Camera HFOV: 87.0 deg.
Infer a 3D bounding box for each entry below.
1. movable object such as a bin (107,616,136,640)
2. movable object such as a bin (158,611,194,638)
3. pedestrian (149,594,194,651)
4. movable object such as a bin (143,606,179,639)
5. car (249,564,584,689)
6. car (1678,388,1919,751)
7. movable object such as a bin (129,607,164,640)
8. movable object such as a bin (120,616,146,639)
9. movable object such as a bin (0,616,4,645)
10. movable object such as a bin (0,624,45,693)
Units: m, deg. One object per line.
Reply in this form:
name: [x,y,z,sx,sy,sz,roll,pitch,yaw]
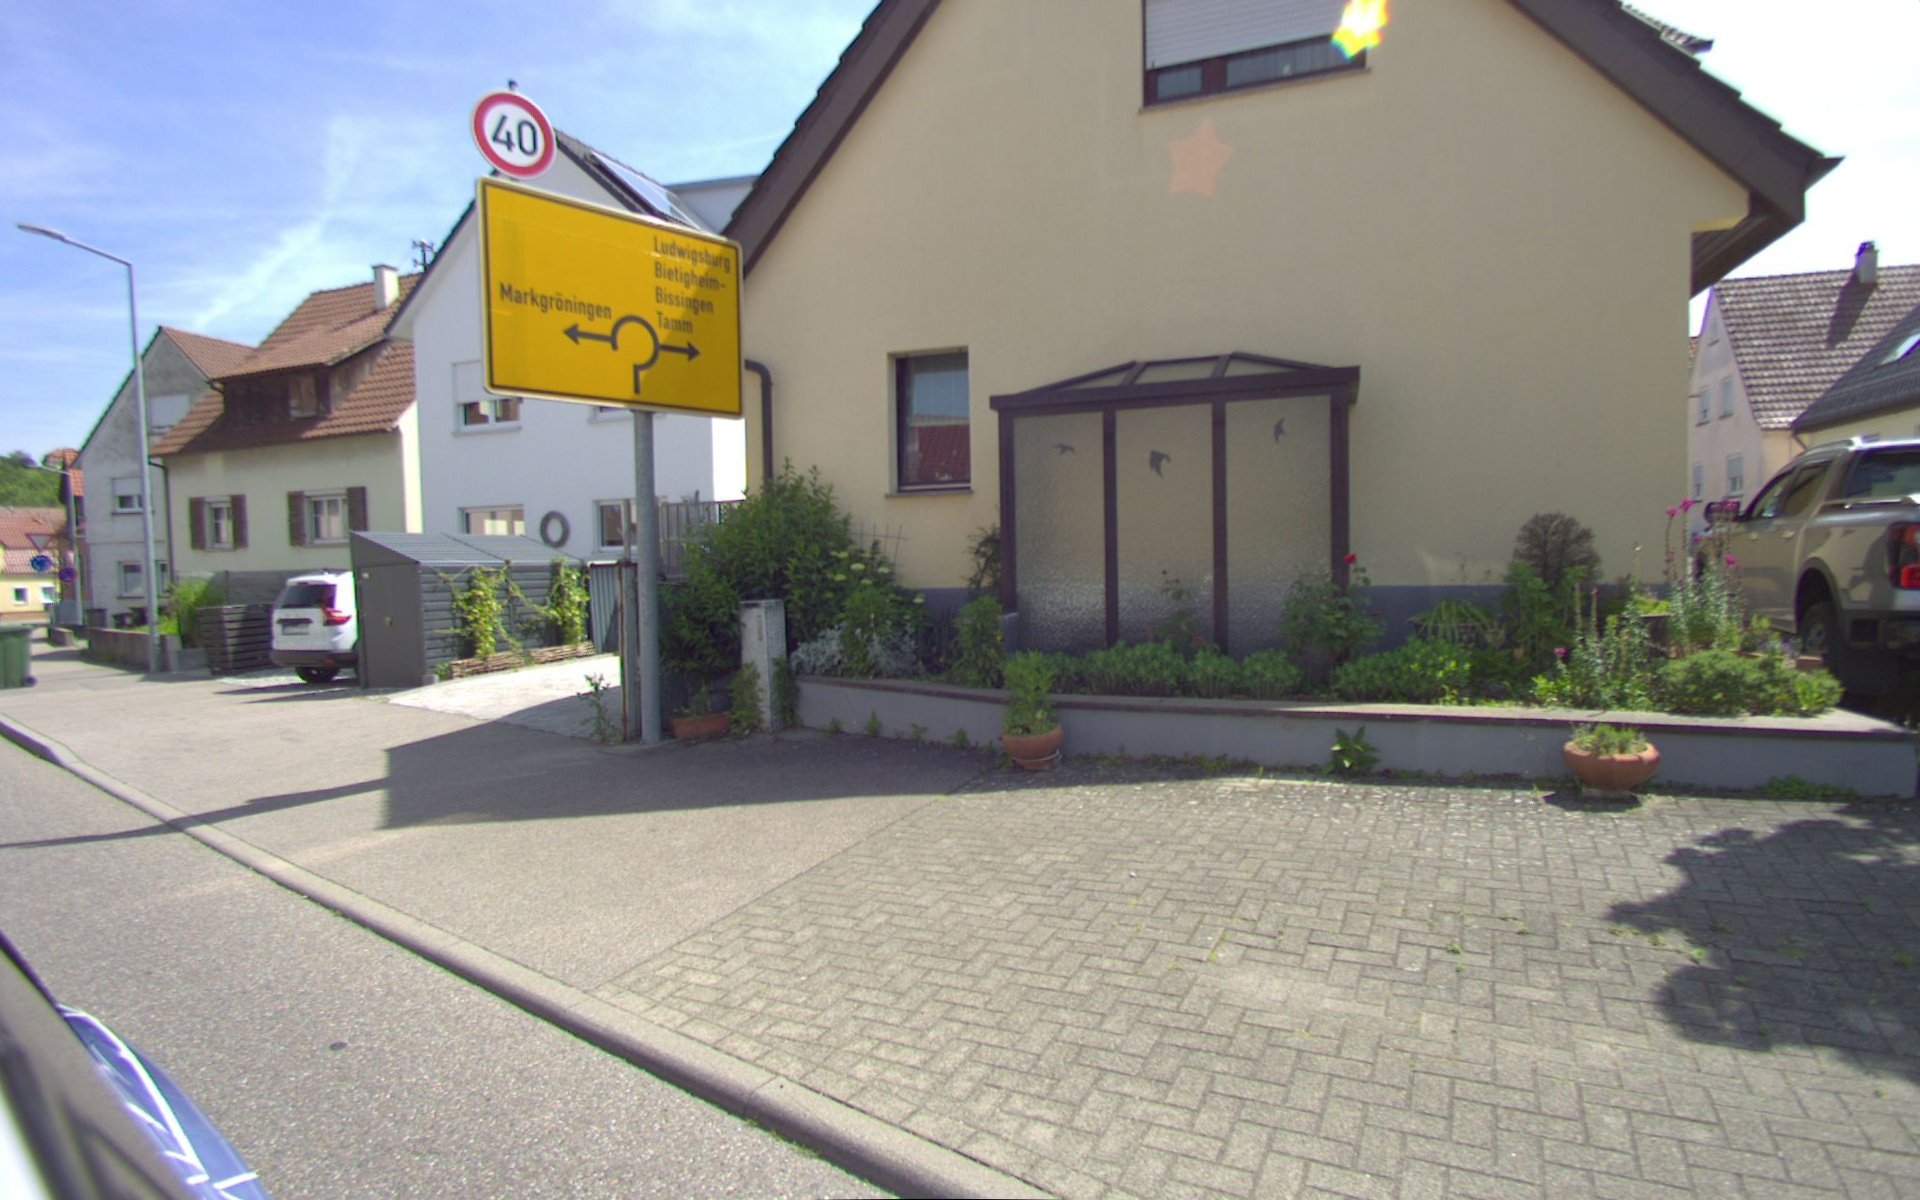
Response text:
movable object such as a bin: [-30.188,1.013,36.438,0.641,0.811,0.484,-2,2,17]
movable object such as a bin: [-27.552,0.863,35.583,0.692,0.903,0.682,-2,2,15]
pedestrian: [-22.773,0.649,29.231,0.626,1.585,0.771,-2,2,32]
movable object such as a bin: [-28.292,0.804,35.836,0.692,1.094,0.682,-2,2,15]
car: [-8.534,0.307,16.345,1.991,1.634,4.374,-1,3,28]
car: [6.952,-0.295,7.200,2.164,1.910,5.078,-2,2,26]
movable object such as a bin: [-28.960,0.832,36.036,0.639,1.094,0.682,-2,2,15]
movable object such as a bin: [-29.577,0.981,36.189,0.522,0.786,0.484,-2,2,15]
movable object such as a bin: [-35.252,1.139,36.647,0.798,1.052,0.828,-4,3,-38]
movable object such as a bin: [-16.039,0.983,17.027,0.818,1.085,0.817,-1,3,42]
